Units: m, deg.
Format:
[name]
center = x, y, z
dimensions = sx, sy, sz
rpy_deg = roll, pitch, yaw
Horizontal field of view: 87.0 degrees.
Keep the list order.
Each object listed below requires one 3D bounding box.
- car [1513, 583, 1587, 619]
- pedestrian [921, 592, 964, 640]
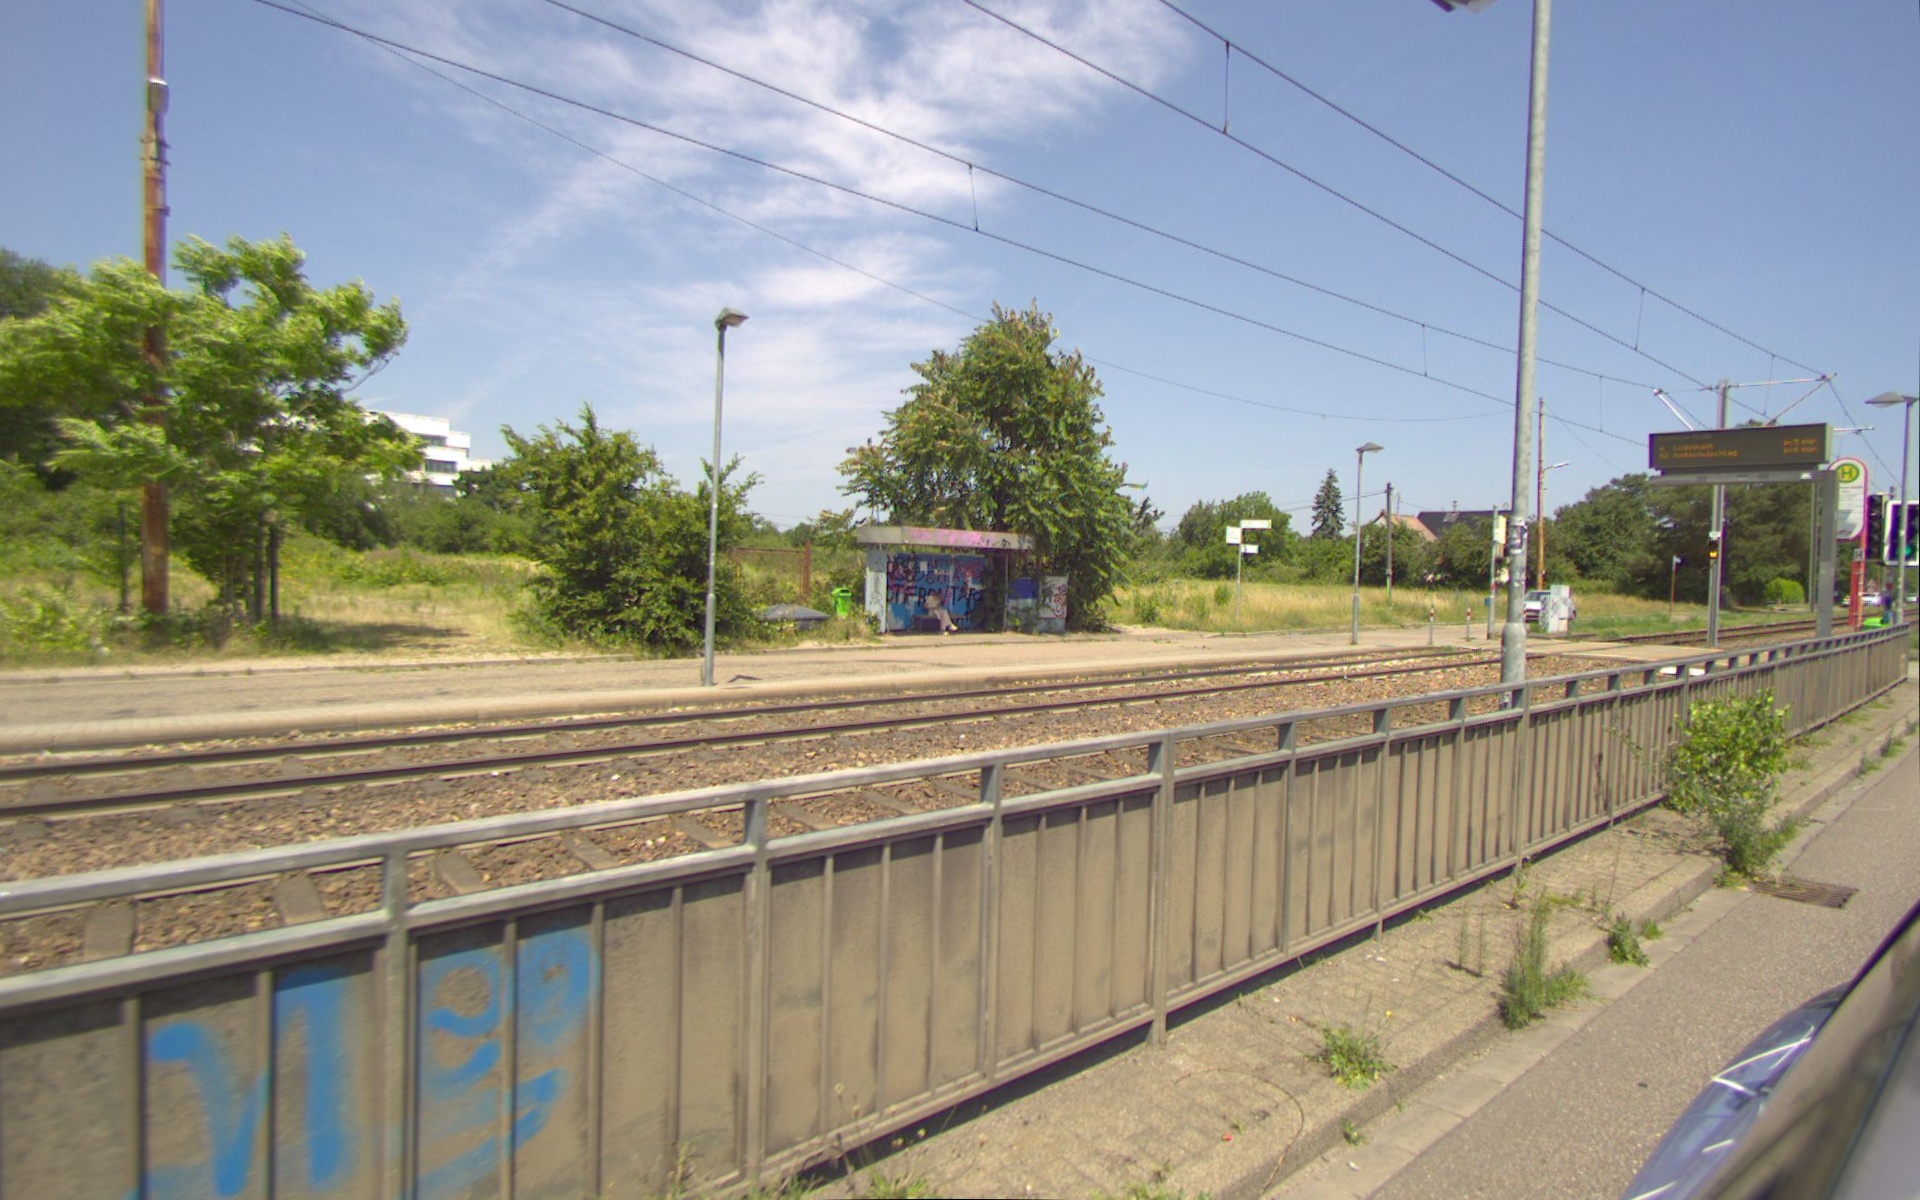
[car]
center = 26.469, 0.007, 45.341
dimensions = 3.932, 1.507, 1.715
rpy_deg = -1, 1, -42
[pedestrian]
center = -0.427, 0.360, 24.055
dimensions = 0.704, 1.100, 0.812
rpy_deg = 0, 1, -32
